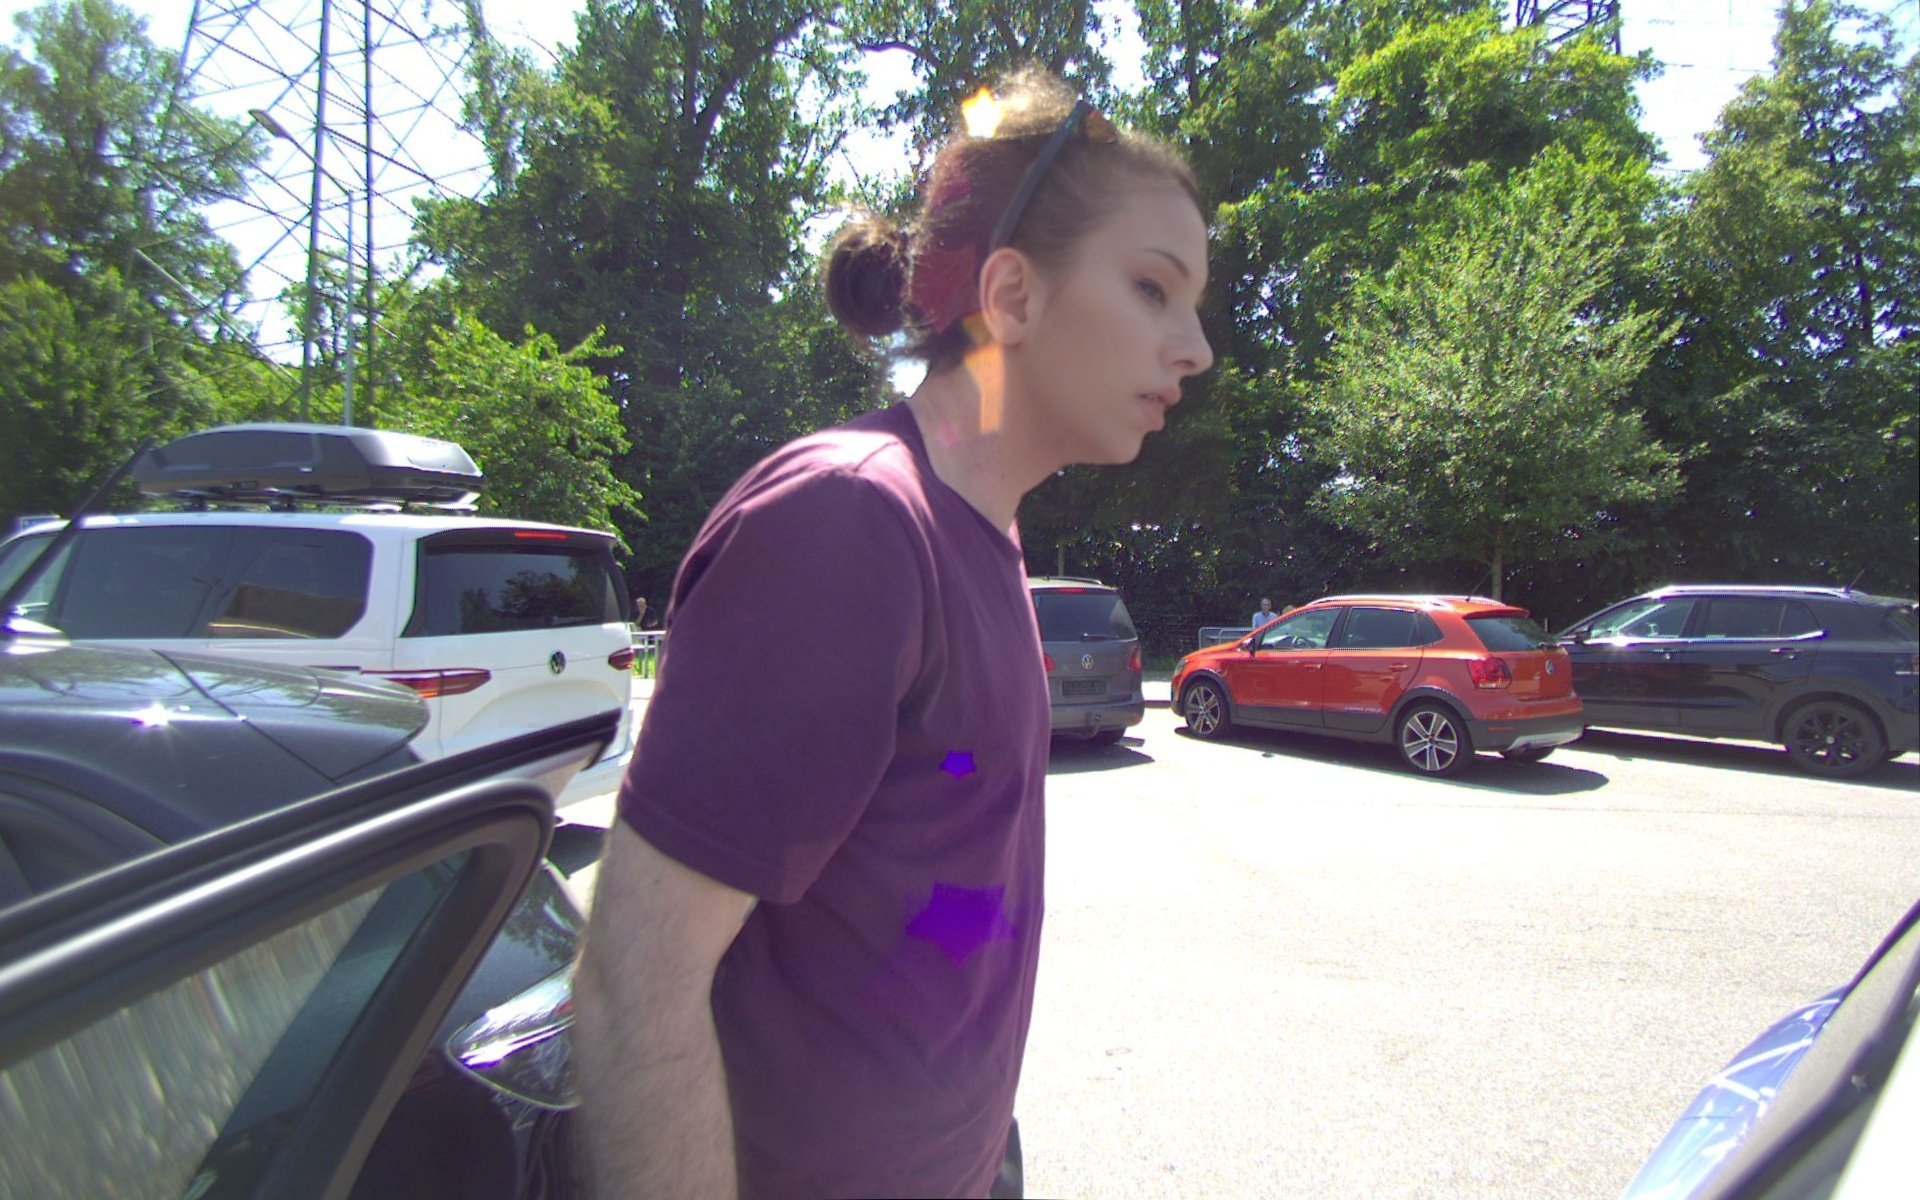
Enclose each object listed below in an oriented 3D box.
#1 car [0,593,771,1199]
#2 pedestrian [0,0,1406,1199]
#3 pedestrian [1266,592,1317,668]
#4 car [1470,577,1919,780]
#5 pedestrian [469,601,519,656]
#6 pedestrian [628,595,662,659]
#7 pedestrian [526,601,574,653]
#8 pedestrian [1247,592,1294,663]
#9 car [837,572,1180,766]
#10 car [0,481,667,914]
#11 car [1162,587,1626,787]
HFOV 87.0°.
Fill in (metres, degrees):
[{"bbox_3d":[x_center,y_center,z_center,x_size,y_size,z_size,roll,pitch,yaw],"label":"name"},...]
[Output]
[{"bbox_3d":[-2.180,0.727,0.611,1.737,1.501,3.756,0,-1,44],"label":"car"},{"bbox_3d":[-0.207,0.545,0.711,0.874,1.865,0.621,0,0,-38],"label":"pedestrian"},{"bbox_3d":[5.807,0.514,17.758,0.657,1.311,0.783,0,0,3],"label":"pedestrian"},{"bbox_3d":[7.206,0.590,9.717,1.690,1.593,3.787,0,1,-39],"label":"car"},{"bbox_3d":[-10.488,0.629,22.784,0.873,1.192,0.668,0,0,-41],"label":"pedestrian"},{"bbox_3d":[-6.626,0.558,21.285,0.655,1.311,0.786,0,0,-16],"label":"pedestrian"},{"bbox_3d":[-9.572,0.616,23.638,0.873,1.192,0.668,0,0,-41],"label":"pedestrian"},{"bbox_3d":[5.814,0.504,18.989,0.657,1.311,0.783,0,0,3],"label":"pedestrian"},{"bbox_3d":[0.279,0.536,10.529,1.713,1.601,3.996,0,1,-29],"label":"car"},{"bbox_3d":[-4.254,0.401,6.115,4.502,1.936,1.902,1,1,17],"label":"car"},{"bbox_3d":[3.879,0.626,9.658,1.687,1.484,3.793,0,1,-32],"label":"car"}]
